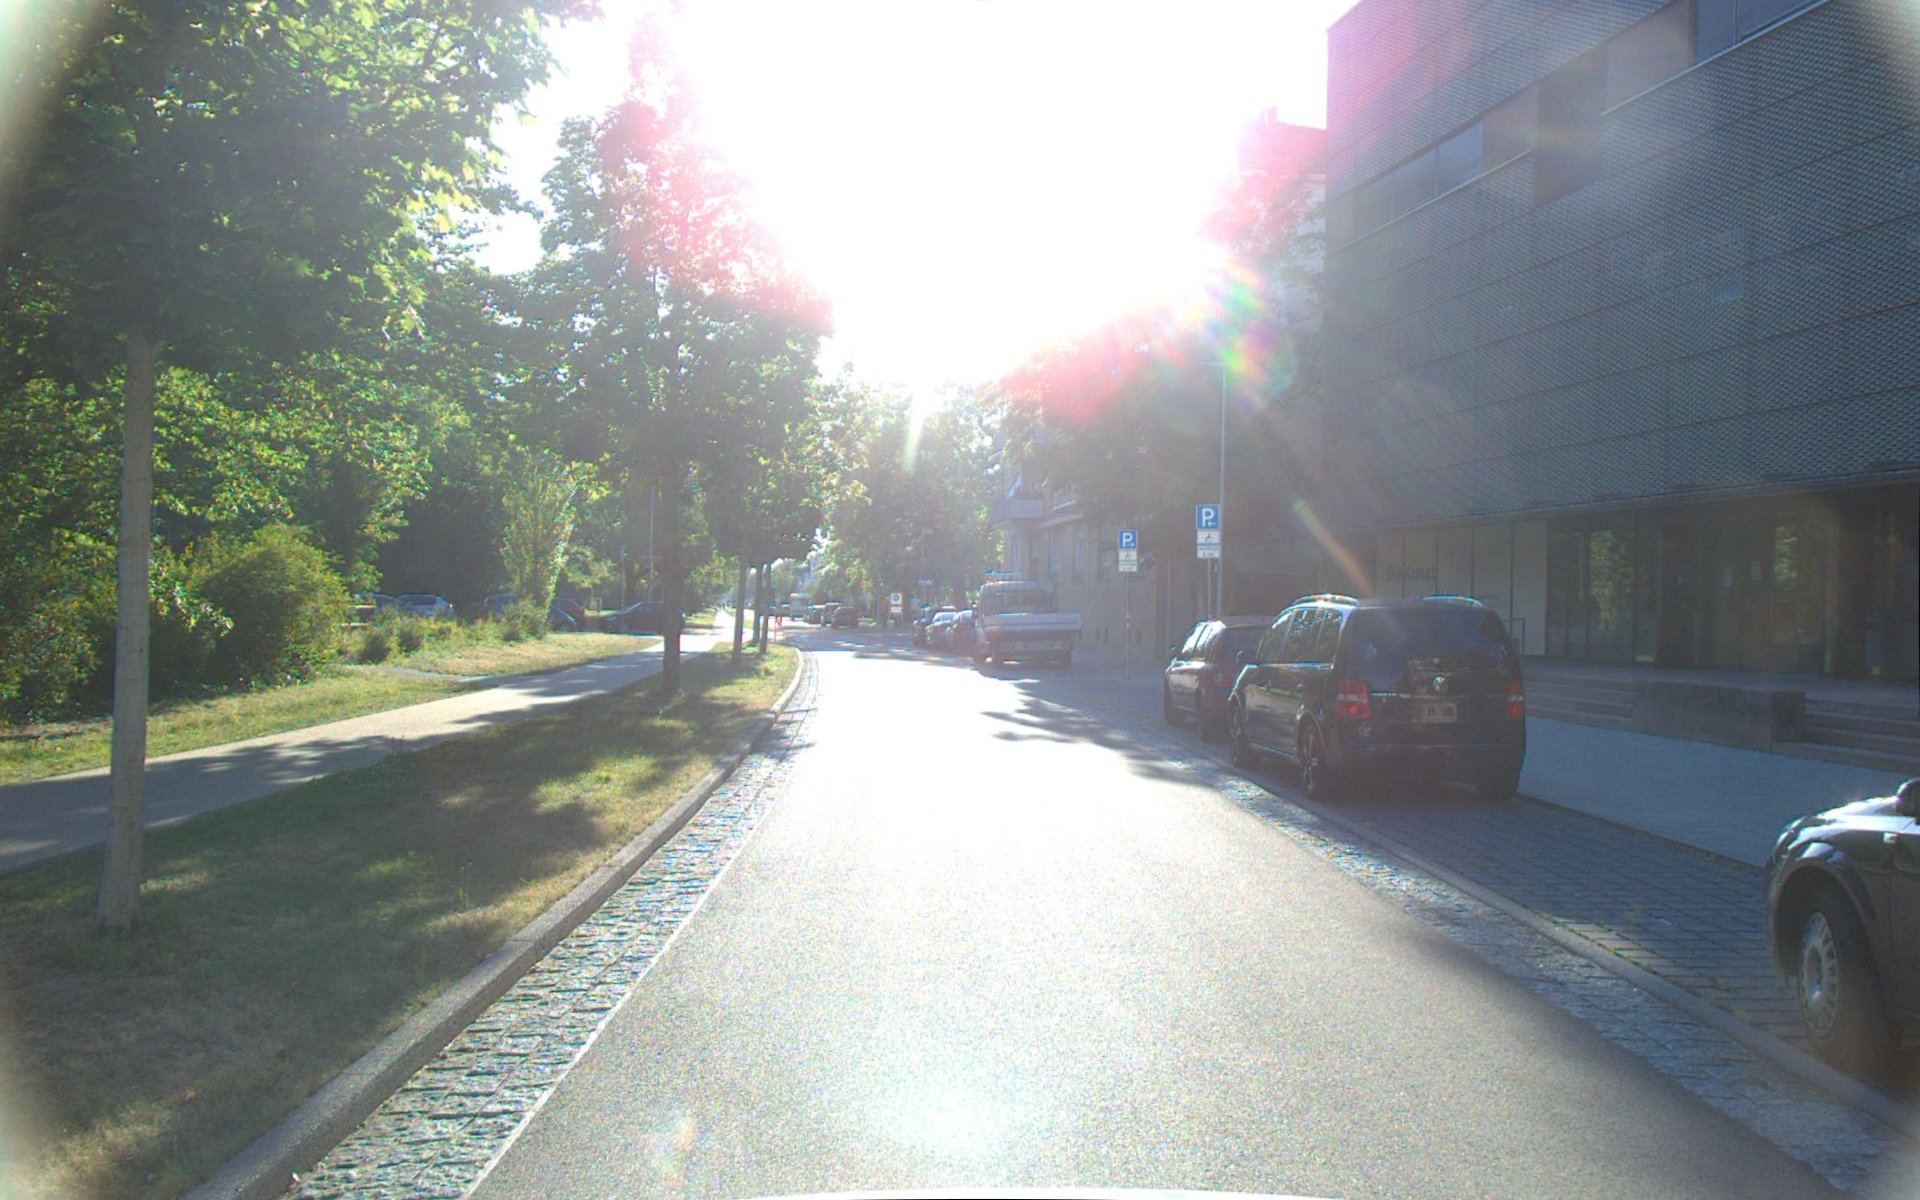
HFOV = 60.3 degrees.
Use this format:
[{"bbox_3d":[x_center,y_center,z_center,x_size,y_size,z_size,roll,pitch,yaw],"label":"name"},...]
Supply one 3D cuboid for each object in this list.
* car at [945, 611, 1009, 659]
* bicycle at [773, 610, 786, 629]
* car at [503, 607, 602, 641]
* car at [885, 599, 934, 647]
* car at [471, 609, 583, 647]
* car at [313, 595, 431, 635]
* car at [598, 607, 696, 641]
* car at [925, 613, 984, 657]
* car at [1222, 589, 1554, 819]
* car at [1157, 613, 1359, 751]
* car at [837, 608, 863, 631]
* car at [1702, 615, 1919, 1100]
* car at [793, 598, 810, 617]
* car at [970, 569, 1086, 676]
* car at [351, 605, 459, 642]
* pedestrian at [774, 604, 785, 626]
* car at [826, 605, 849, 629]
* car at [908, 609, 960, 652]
[{"bbox_3d":[0.539,1.132,54.976,1.658,1.465,3.545,-1,1,-7],"label":"car"},{"bbox_3d":[-12.364,1.342,113.334,0.674,1.223,2.342,1,1,-3],"label":"bicycle"},{"bbox_3d":[-17.720,1.036,71.907,3.871,1.445,1.754,0,1,-30],"label":"car"},{"bbox_3d":[-2.281,1.007,73.676,1.788,2.049,3.598,1,0,-8],"label":"car"},{"bbox_3d":[-17.060,1.091,65.253,3.949,1.445,1.752,0,1,-33],"label":"car"},{"bbox_3d":[-22.174,0.569,62.432,3.946,1.445,1.753,1,-1,-31],"label":"car"},{"bbox_3d":[-14.003,1.064,74.064,3.951,1.445,1.751,0,1,-34],"label":"car"},{"bbox_3d":[-0.247,1.240,60.225,1.658,1.465,4.098,-1,1,-7],"label":"car"},{"bbox_3d":[3.647,0.789,14.858,1.690,1.698,4.111,-1,1,-4],"label":"car"},{"bbox_3d":[3.585,0.937,20.549,1.689,1.446,3.905,-1,1,-2],"label":"car"},{"bbox_3d":[-7.866,1.359,118.431,1.758,1.536,3.998,1,1,-3],"label":"car"},{"bbox_3d":[3.906,0.829,4.436,1.712,1.492,4.476,-1,1,-2],"label":"car"},{"bbox_3d":[-17.627,0.799,184.089,1.759,2.034,3.995,1,1,-6],"label":"car"},{"bbox_3d":[1.696,0.510,43.751,2.168,2.574,6.140,-2,1,-6],"label":"car"},{"bbox_3d":[-23.059,0.972,68.727,3.954,1.445,1.750,0,1,-36],"label":"car"},{"bbox_3d":[-12.366,1.025,113.378,0.674,1.459,1.024,1,0,-3],"label":"pedestrian"},{"bbox_3d":[-9.781,1.357,132.183,1.759,1.754,3.995,1,1,-6],"label":"car"},{"bbox_3d":[-1.069,1.183,66.183,1.658,1.592,4.098,-1,1,-7],"label":"car"}]
